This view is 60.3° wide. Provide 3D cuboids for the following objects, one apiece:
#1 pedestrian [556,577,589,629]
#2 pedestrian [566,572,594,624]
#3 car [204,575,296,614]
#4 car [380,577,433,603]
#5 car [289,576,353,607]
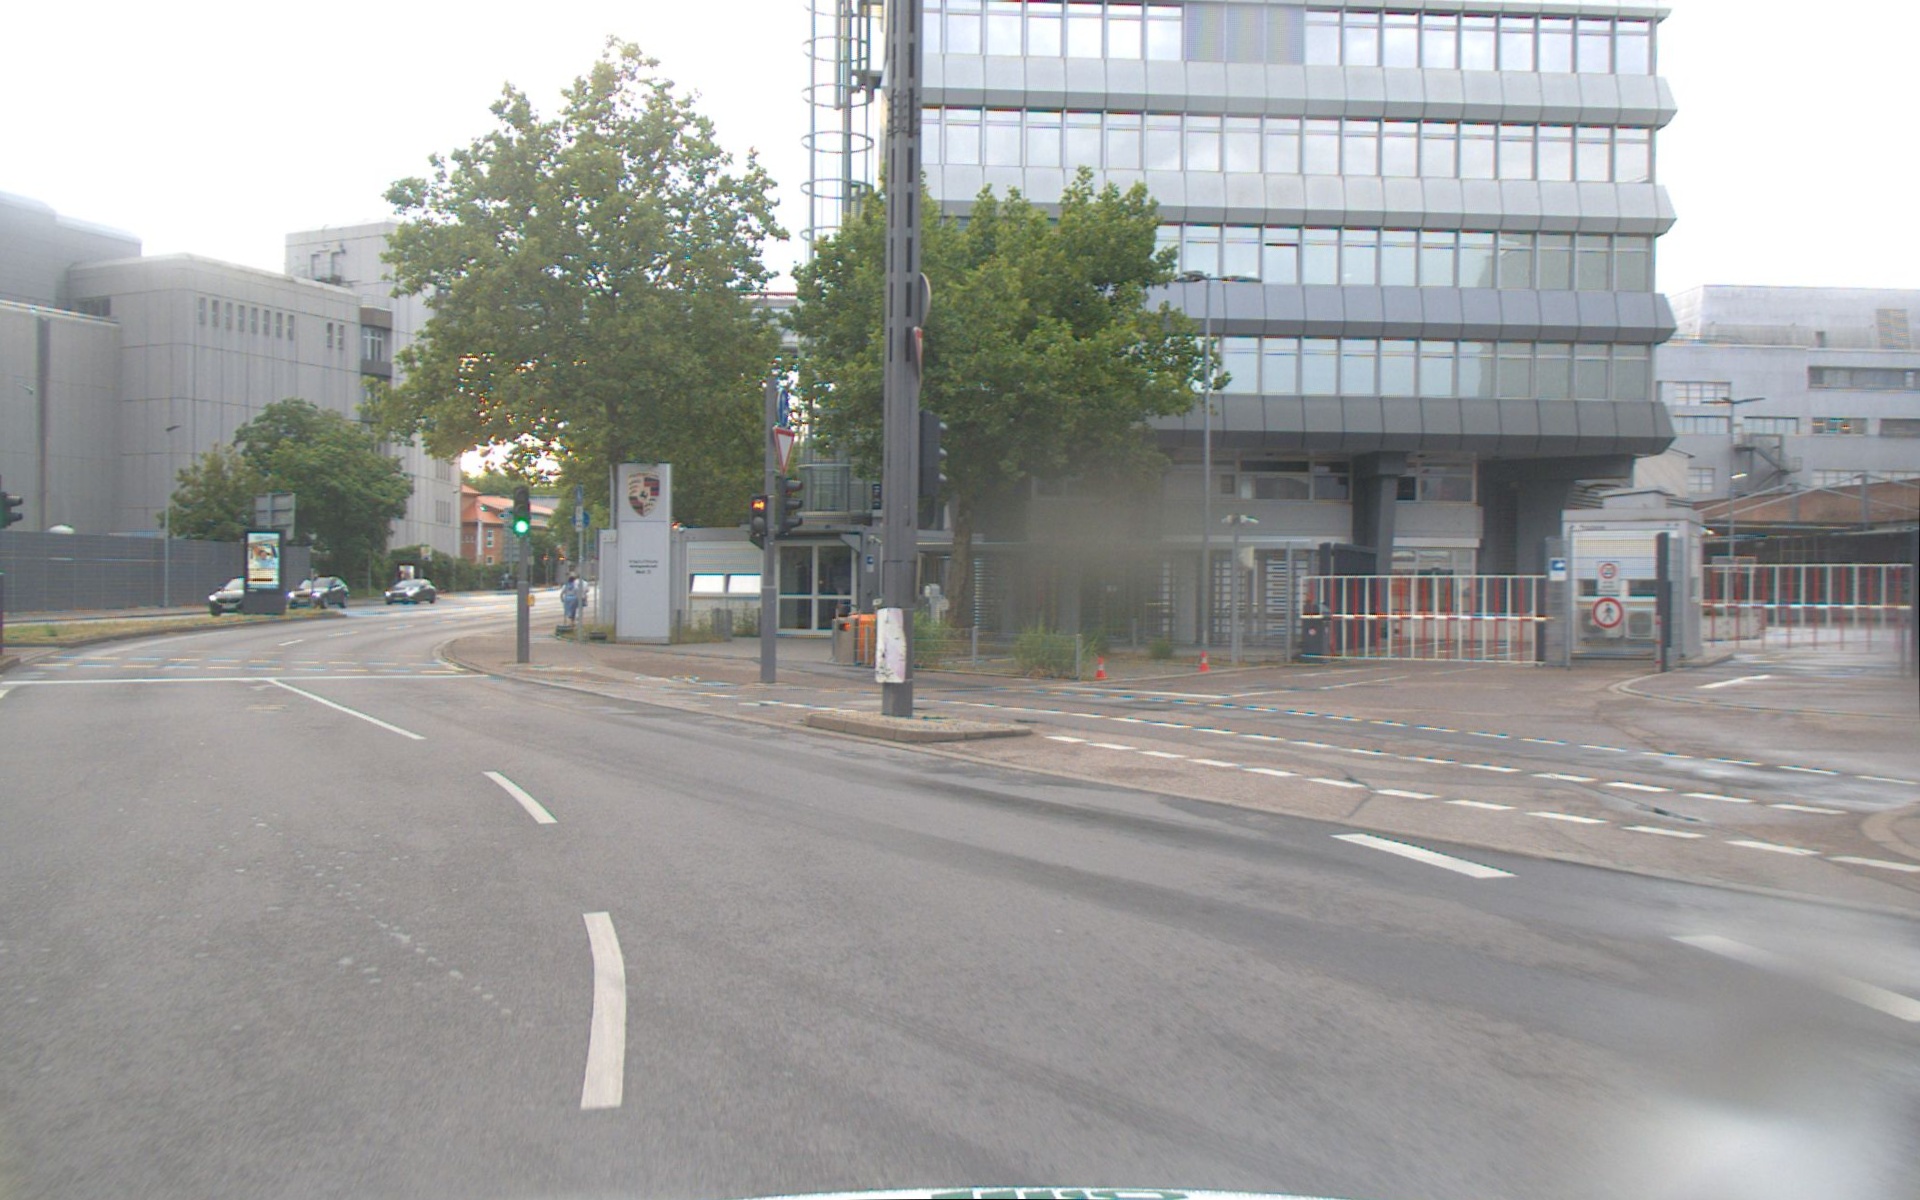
[{"bbox_3d":[-11.609,0.070,49.592,0.814,1.547,0.841,0,1,-1],"label":"pedestrian"},{"bbox_3d":[-11.901,-0.077,51.802,0.694,1.620,0.840,0,1,0],"label":"pedestrian"},{"bbox_3d":[-27.557,-0.237,64.319,1.746,1.465,4.395,0,1,-1],"label":"car"},{"bbox_3d":[-31.980,-0.609,95.654,1.748,1.409,4.542,-2,1,-4],"label":"car"},{"bbox_3d":[-31.740,-0.435,82.268,1.748,1.479,4.556,-1,1,-5],"label":"car"}]
